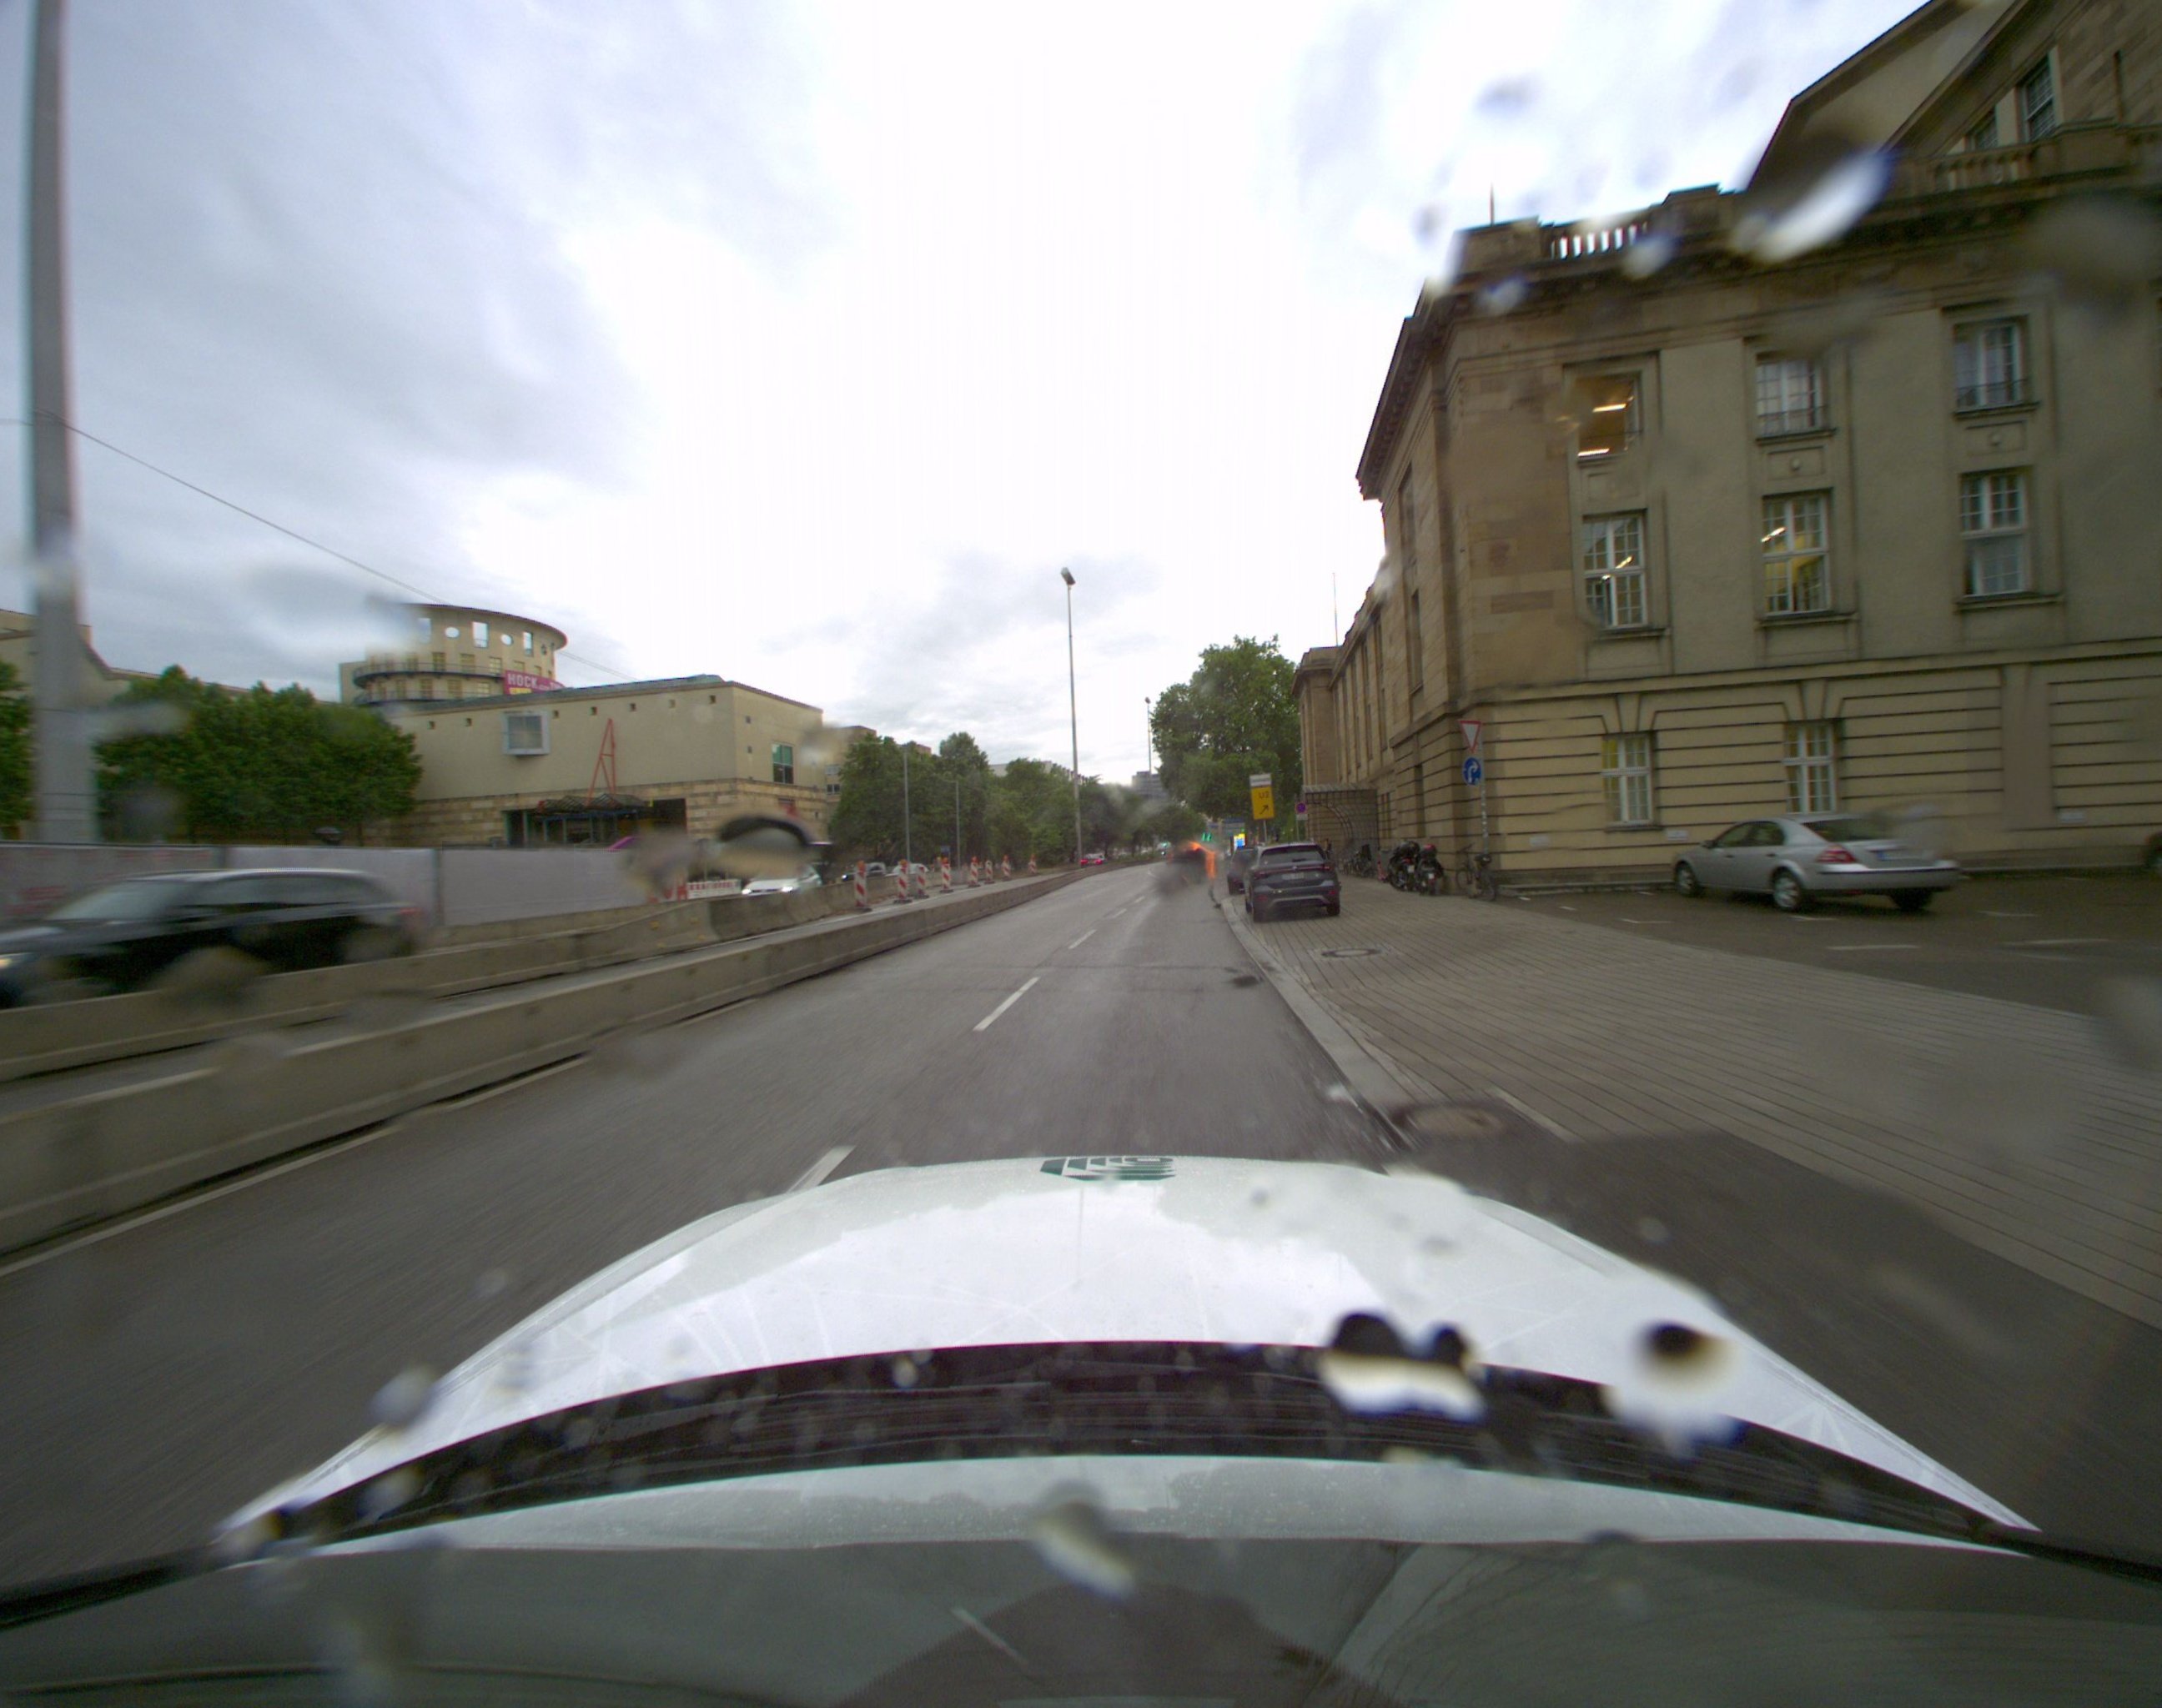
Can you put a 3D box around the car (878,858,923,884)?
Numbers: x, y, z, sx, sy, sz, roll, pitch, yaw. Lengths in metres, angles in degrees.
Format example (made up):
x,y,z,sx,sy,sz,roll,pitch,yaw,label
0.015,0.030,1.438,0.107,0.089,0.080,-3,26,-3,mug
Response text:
x,y,z,sx,sy,sz,roll,pitch,yaw,label
-10.562,0.964,48.031,1.770,1.262,4.763,-1,1,-2,car

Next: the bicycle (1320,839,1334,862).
x,y,z,sx,sy,sz,roll,pitch,yaw,label
13.586,-0.177,44.976,0.461,1.215,1.695,-2,0,8,bicycle

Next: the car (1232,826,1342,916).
x,y,z,sx,sy,sz,roll,pitch,yaw,label
4.342,0.282,17.741,1.860,1.619,4.416,-4,1,9,car

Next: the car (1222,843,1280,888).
x,y,z,sx,sy,sz,roll,pitch,yaw,label
5.994,0.372,28.522,1.746,1.414,3.165,-2,0,15,car

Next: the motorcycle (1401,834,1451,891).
x,y,z,sx,sy,sz,roll,pitch,yaw,label
8.343,0.191,19.757,0.801,1.298,1.806,-2,0,14,motorcycle

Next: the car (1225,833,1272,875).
x,y,z,sx,sy,sz,roll,pitch,yaw,label
7.786,-0.022,37.775,1.980,1.781,4.202,-2,0,12,car

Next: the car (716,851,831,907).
x,y,z,sx,sy,sz,roll,pitch,yaw,label
-9.831,0.745,26.436,1.986,1.530,4.003,-3,1,2,car

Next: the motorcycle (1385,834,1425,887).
x,y,z,sx,sy,sz,roll,pitch,yaw,label
8.720,0.163,21.953,0.662,1.325,2.143,-2,0,14,motorcycle

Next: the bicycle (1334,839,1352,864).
x,y,z,sx,sy,sz,roll,pitch,yaw,label
11.515,-0.103,35.817,0.579,1.038,1.765,-2,0,13,bicycle

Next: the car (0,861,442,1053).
x,y,z,sx,sy,sz,roll,pitch,yaw,label
-10.156,0.949,9.177,1.913,1.530,4.764,-3,1,2,car

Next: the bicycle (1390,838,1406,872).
x,y,z,sx,sy,sz,roll,pitch,yaw,label
10.254,0.032,26.309,0.415,1.049,1.781,-2,0,23,bicycle

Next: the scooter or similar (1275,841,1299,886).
x,y,z,sx,sy,sz,roll,pitch,yaw,label
5.780,0.261,22.856,0.431,1.216,1.124,-5,0,7,scooter or similar

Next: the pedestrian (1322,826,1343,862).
x,y,z,sx,sy,sz,roll,pitch,yaw,label
13.014,-0.505,42.119,0.790,1.777,0.644,-6,-1,10,pedestrian

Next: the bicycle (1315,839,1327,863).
x,y,z,sx,sy,sz,roll,pitch,yaw,label
15.297,-0.198,51.873,0.451,1.515,1.603,-1,1,7,bicycle

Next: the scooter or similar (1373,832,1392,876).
x,y,z,sx,sy,sz,roll,pitch,yaw,label
10.077,-0.002,27.211,0.410,1.417,1.272,-2,0,14,scooter or similar

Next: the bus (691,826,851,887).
x,y,z,sx,sy,sz,roll,pitch,yaw,label
-21.497,0.005,58.294,2.784,3.810,14.652,-1,1,14,bus

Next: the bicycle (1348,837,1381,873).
x,y,z,sx,sy,sz,roll,pitch,yaw,label
10.768,0.038,30.962,0.727,1.268,1.761,-3,0,5,bicycle

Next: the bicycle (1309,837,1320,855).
x,y,z,sx,sy,sz,roll,pitch,yaw,label
15.855,-0.547,55.320,0.451,1.251,1.604,-1,1,9,bicycle

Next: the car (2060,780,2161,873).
x,y,z,sx,sy,sz,roll,pitch,yaw,label
18.742,-0.487,12.792,1.807,1.539,4.522,-4,1,11,car

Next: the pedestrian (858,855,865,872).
x,y,z,sx,sy,sz,roll,pitch,yaw,label
-25.796,1.131,95.613,0.475,2.013,0.513,-4,-1,10,pedestrian

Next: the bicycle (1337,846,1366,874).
x,y,z,sx,sy,sz,roll,pitch,yaw,label
10.896,0.223,32.865,0.708,1.051,1.743,-2,0,5,bicycle

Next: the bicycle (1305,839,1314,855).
x,y,z,sx,sy,sz,roll,pitch,yaw,label
15.769,-0.472,56.228,0.350,1.080,1.794,-4,-1,9,bicycle

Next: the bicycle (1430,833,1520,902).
x,y,z,sx,sy,sz,roll,pitch,yaw,label
8.189,0.263,17.056,1.096,1.317,1.862,-2,0,6,bicycle

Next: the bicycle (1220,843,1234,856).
x,y,z,sx,sy,sz,roll,pitch,yaw,label
11.430,-0.364,63.856,0.663,0.967,1.647,-2,0,25,bicycle

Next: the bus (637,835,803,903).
x,y,z,sx,sy,sz,roll,pitch,yaw,label
-24.913,0.806,57.662,3.097,4.251,13.545,-1,1,13,bus

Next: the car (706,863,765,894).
x,y,z,sx,sy,sz,roll,pitch,yaw,label
-19.634,1.364,46.402,1.583,1.500,3.221,-5,0,7,car

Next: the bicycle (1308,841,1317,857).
x,y,z,sx,sy,sz,roll,pitch,yaw,label
15.534,-0.332,54.623,0.350,1.080,1.794,-2,0,9,bicycle

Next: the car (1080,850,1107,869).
x,y,z,sx,sy,sz,roll,pitch,yaw,label
1.075,0.428,67.099,1.745,1.451,4.007,-3,0,6,car

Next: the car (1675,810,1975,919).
x,y,z,sx,sy,sz,roll,pitch,yaw,label
11.585,0.129,13.112,1.511,1.410,4.139,-3,0,9,car

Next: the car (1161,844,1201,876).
x,y,z,sx,sy,sz,roll,pitch,yaw,label
5.011,0.295,40.557,1.834,1.416,3.847,-3,0,7,car

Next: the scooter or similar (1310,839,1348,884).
x,y,z,sx,sy,sz,roll,pitch,yaw,label
7.275,0.221,23.942,0.434,1.293,1.252,-2,0,-14,scooter or similar
